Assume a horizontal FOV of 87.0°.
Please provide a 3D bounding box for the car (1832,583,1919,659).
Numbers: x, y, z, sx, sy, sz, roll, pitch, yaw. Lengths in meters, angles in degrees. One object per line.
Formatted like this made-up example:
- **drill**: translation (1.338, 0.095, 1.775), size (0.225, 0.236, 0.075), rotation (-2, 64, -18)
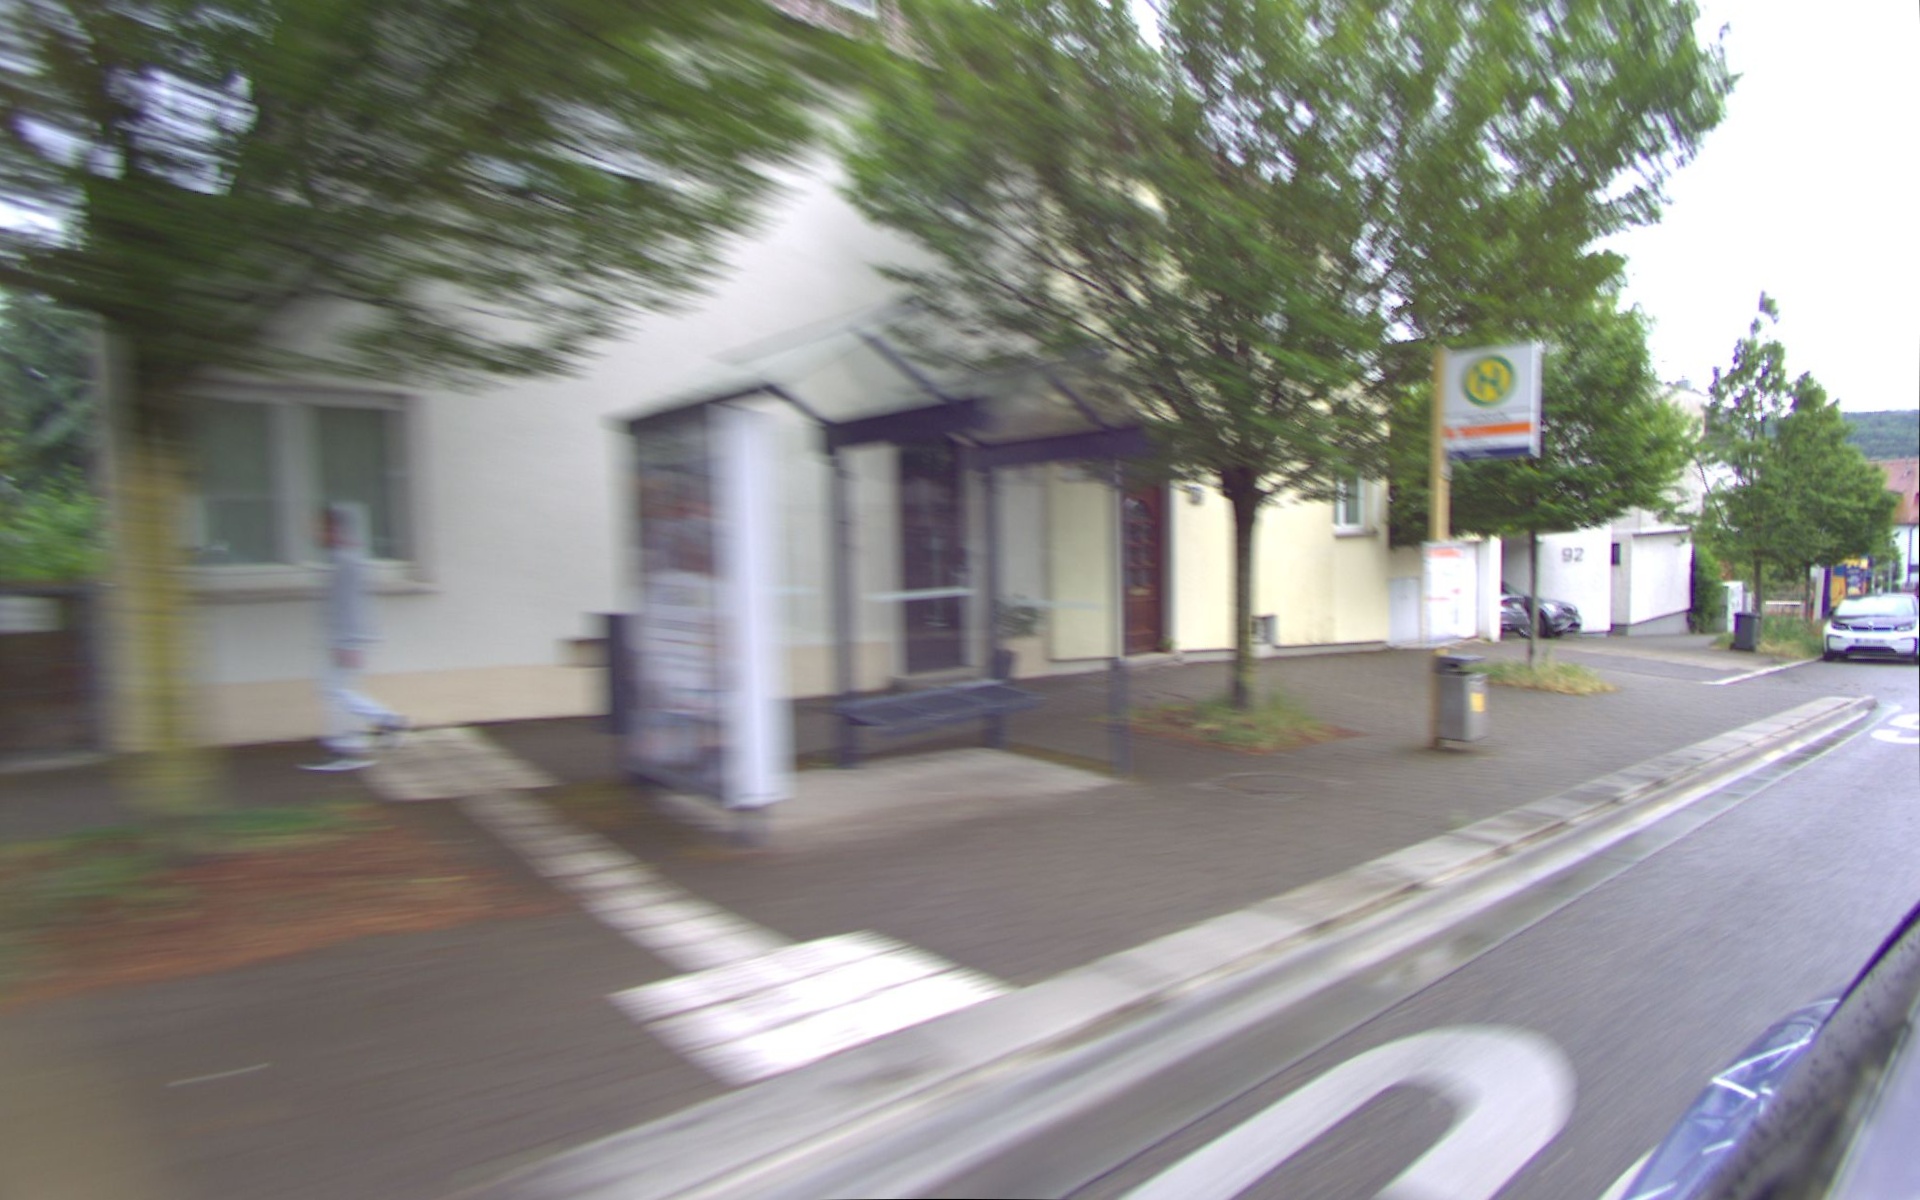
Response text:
- **car**: translation (21.709, 0.436, 23.523), size (4.050, 1.628, 1.731), rotation (-1, 0, -43)

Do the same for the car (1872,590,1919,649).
- **car**: translation (25.850, 0.472, 27.119), size (4.801, 1.457, 1.780), rotation (-1, 1, -44)

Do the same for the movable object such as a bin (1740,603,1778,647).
- **movable object such as a bin**: translation (18.881, 0.578, 23.912), size (0.593, 0.986, 0.487), rotation (0, 5, -35)

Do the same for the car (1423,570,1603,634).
- **car**: translation (14.167, 0.006, 26.070), size (1.750, 1.526, 3.708), rotation (0, 1, -40)

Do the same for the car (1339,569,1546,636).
- **car**: translation (11.835, 0.038, 25.058), size (1.798, 1.499, 4.306), rotation (0, 0, -40)

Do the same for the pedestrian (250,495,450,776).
- **pedestrian**: translation (-4.085, 0.188, 6.771), size (1.026, 1.706, 0.835), rotation (0, 4, -40)
